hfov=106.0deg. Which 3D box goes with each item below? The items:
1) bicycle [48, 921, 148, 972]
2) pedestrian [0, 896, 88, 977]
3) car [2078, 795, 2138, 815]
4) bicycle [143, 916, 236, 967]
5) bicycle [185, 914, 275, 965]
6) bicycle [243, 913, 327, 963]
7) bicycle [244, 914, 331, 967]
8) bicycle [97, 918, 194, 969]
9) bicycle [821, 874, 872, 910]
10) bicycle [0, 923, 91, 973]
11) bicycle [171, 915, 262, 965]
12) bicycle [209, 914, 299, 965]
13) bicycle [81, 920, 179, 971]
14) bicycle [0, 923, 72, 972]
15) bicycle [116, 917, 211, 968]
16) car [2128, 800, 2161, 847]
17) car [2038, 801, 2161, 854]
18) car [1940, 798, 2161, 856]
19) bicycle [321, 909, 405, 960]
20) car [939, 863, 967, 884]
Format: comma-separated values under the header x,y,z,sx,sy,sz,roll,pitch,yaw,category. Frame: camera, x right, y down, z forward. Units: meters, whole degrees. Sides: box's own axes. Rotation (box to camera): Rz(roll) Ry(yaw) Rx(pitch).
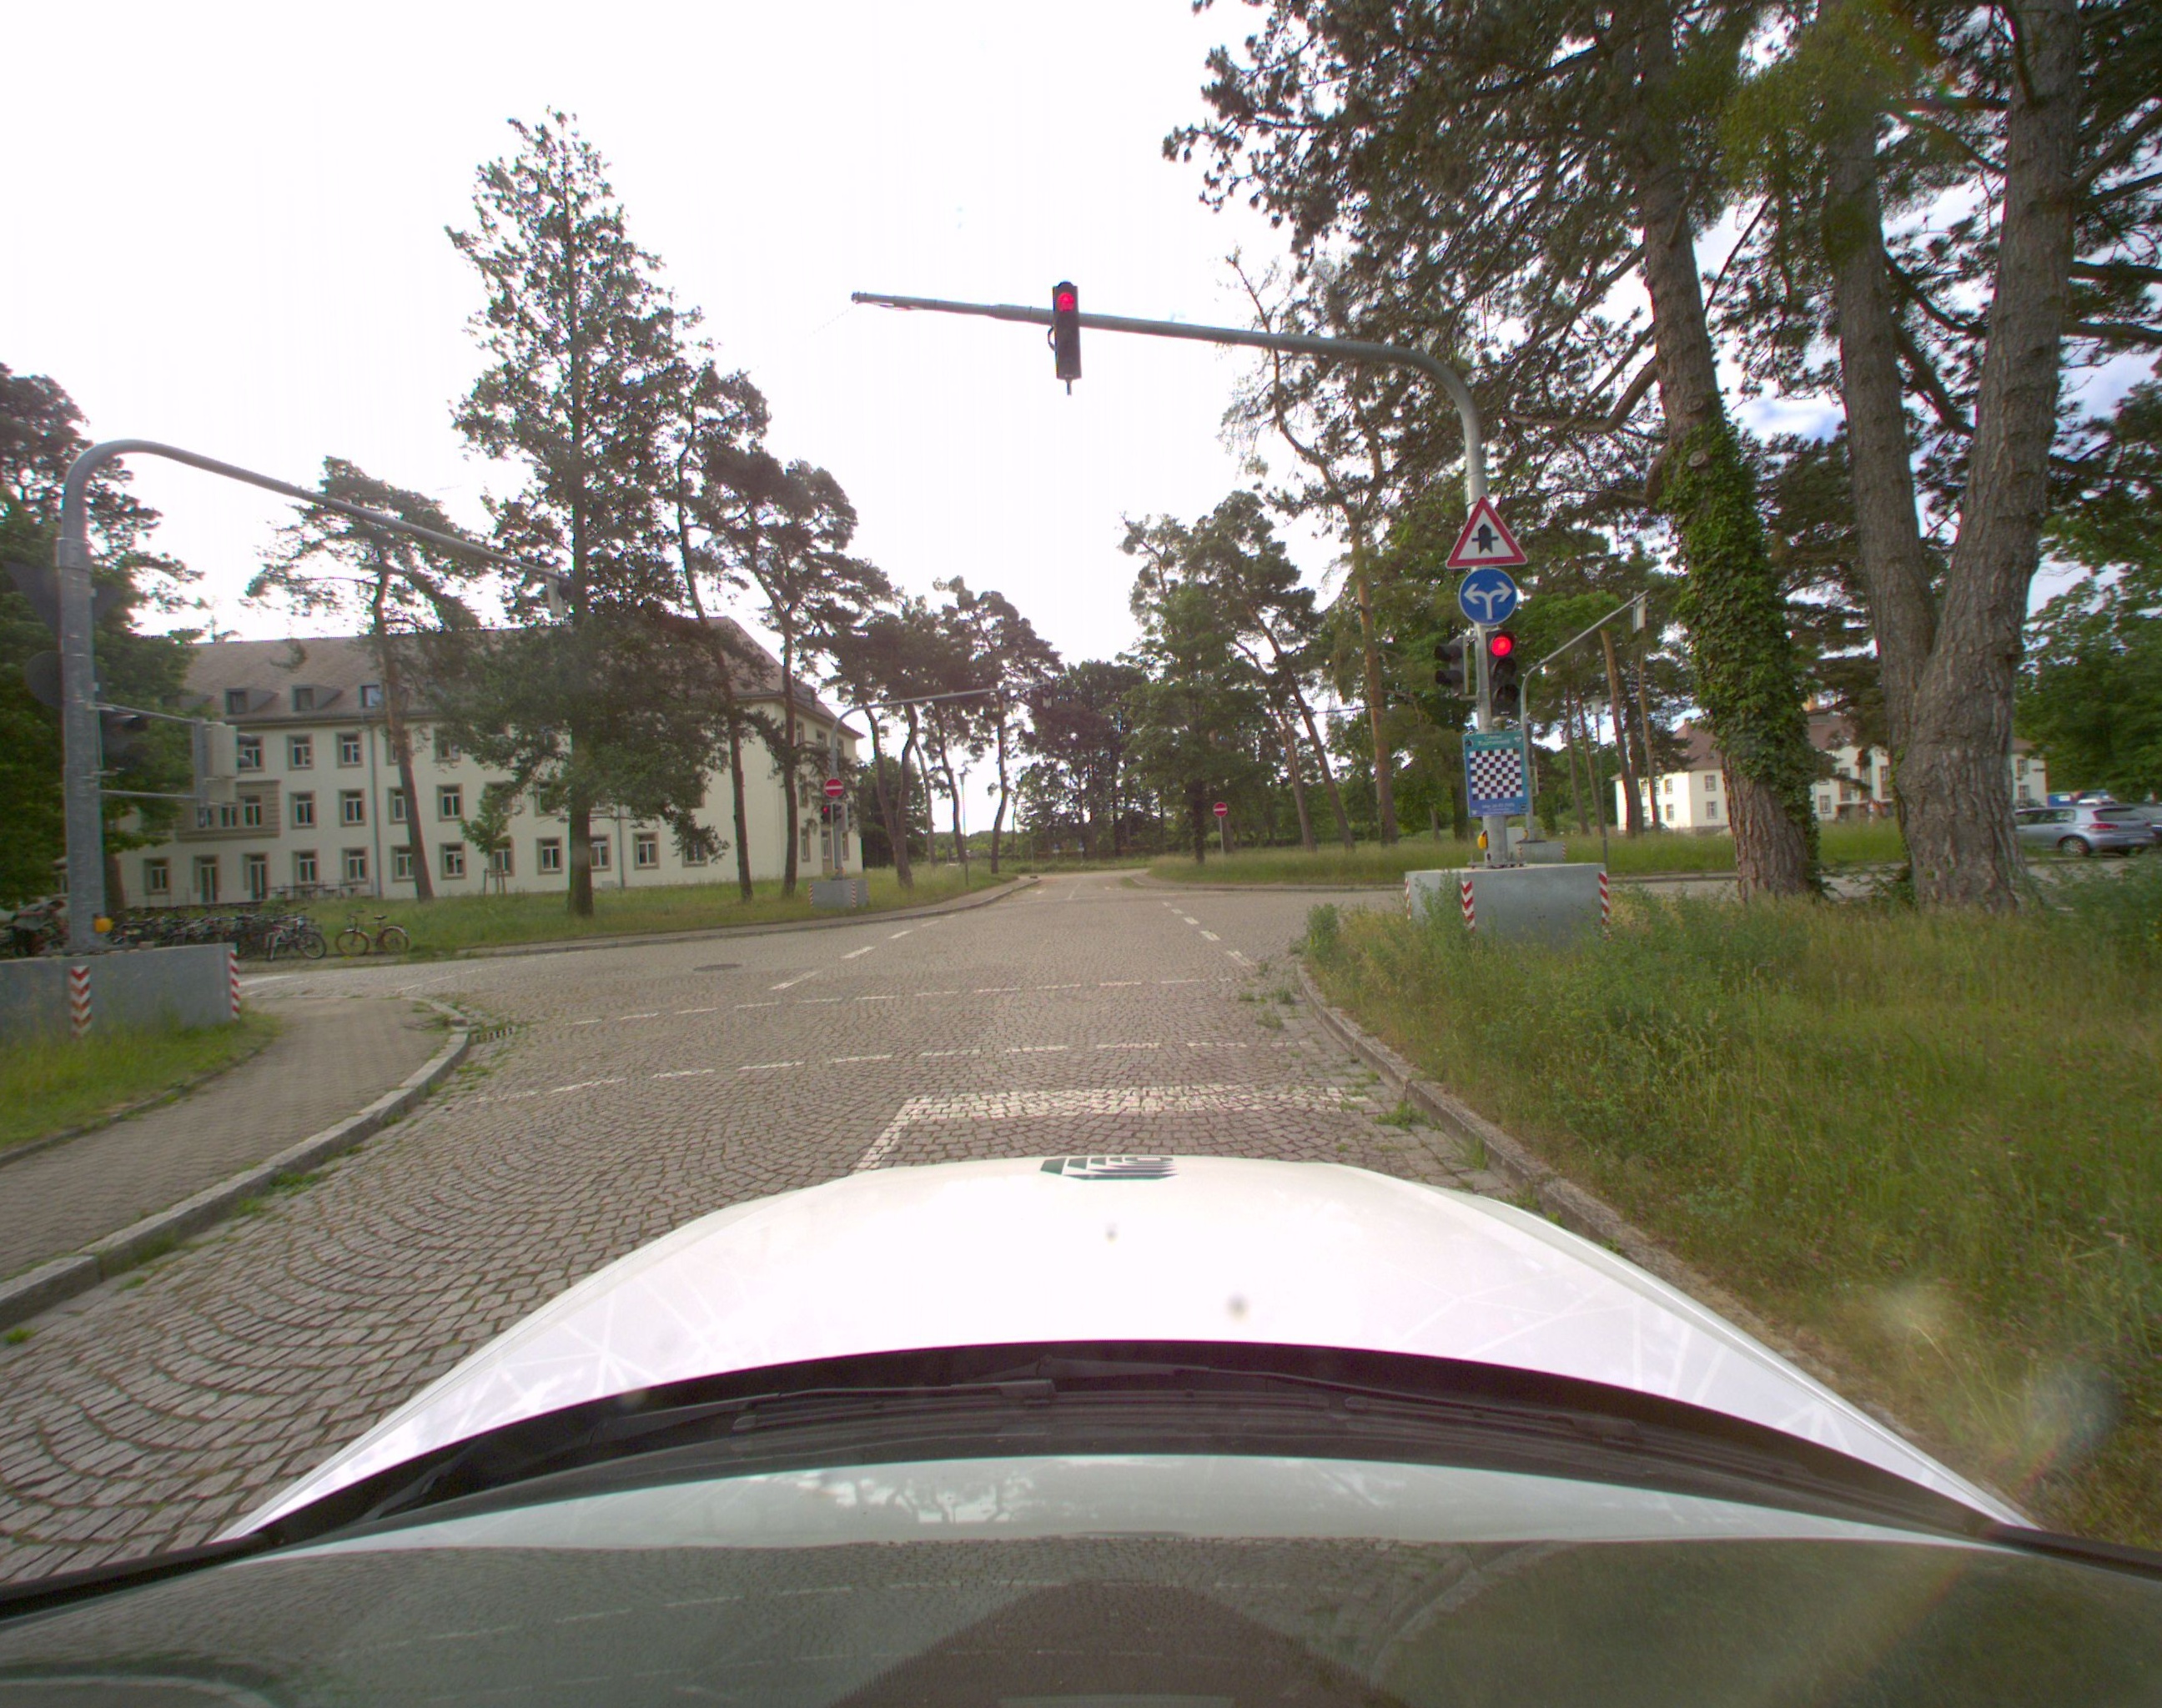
x,y,z,sx,sy,sz,roll,pitch,yaw,category
-24.591,2.296,20.412,0.512,1.079,1.586,-3,0,2,bicycle
-25.218,1.973,19.762,1.050,1.788,1.165,-3,1,29,pedestrian
109.707,-5.248,87.052,4.049,1.905,1.927,-1,0,-2,car
-22.339,2.165,20.438,0.512,1.079,1.586,-3,0,2,bicycle
-21.347,2.128,20.476,0.512,1.079,1.586,-3,0,2,bicycle
-19.967,2.092,20.466,0.513,1.079,1.584,-3,0,-1,bicycle
-18.577,2.016,19.076,1.460,1.079,0.516,-4,-1,-1,bicycle
-23.412,2.218,20.414,0.512,1.079,1.586,-3,0,2,bicycle
-7.737,1.252,26.897,1.460,1.065,0.516,-4,1,-1,bicycle
-26.118,2.342,20.452,0.512,1.079,1.586,-3,0,2,bicycle
-21.708,2.138,20.483,0.512,1.079,1.586,-3,0,2,bicycle
-20.645,2.109,20.380,0.512,1.079,1.587,-4,0,4,bicycle
-23.795,2.258,20.408,0.512,1.079,1.586,-3,0,2,bicycle
-26.619,2.355,20.444,0.512,1.079,1.586,-3,0,2,bicycle
-22.960,2.203,20.420,0.512,1.079,1.586,-3,0,2,bicycle
33.881,-0.964,23.645,1.725,1.468,4.252,-3,0,7,car
31.133,-0.784,23.677,1.727,1.468,4.246,-3,0,3,car
28.519,-0.744,24.121,1.727,1.509,4.246,-3,0,3,car
-16.943,1.899,19.237,1.460,1.065,0.516,-4,-1,-1,bicycle
-12.066,1.850,77.021,1.988,1.846,3.997,-1,0,-2,car
